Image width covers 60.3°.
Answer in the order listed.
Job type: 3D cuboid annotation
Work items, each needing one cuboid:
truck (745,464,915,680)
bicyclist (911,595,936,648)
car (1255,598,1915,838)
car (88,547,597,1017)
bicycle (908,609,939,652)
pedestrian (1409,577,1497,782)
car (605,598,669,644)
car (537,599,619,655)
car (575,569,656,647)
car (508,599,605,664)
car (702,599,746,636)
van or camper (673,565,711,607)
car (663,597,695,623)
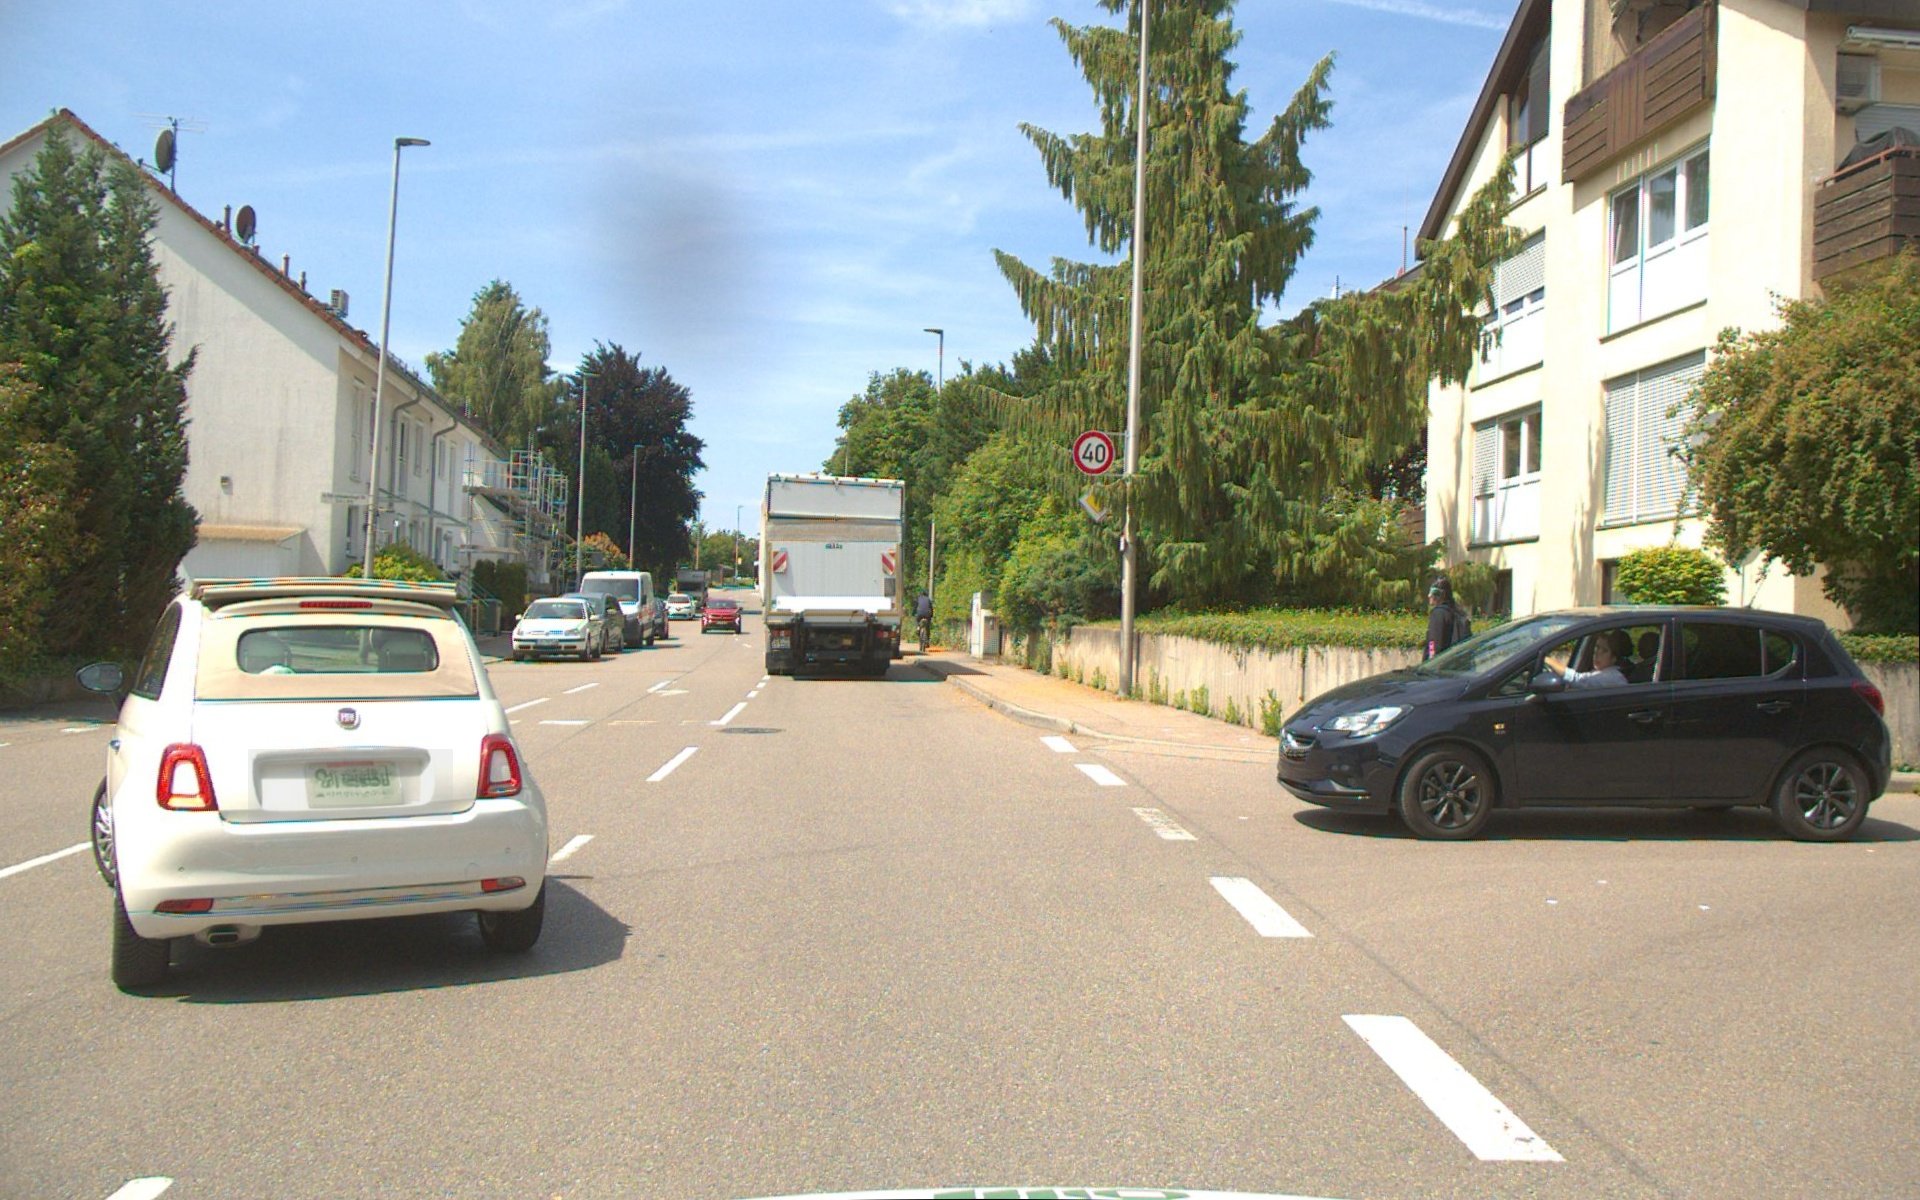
[{"bbox_3d":[-2.783,-0.491,33.562,3.010,3.840,7.856,1,0,-7],"label":"truck"},{"bbox_3d":[-1.025,0.595,46.229,0.576,1.437,0.741,2,0,-6],"label":"bicyclist"},{"bbox_3d":[4.090,0.745,11.217,3.854,1.483,1.658,0,0,-2],"label":"car"},{"bbox_3d":[-3.096,0.637,7.759,1.706,1.587,3.962,0,-1,-29],"label":"car"},{"bbox_3d":[-1.039,0.834,46.258,0.655,1.123,2.422,2,0,-6],"label":"bicycle"},{"bbox_3d":[4.231,0.661,14.183,0.681,1.701,0.570,1,0,18],"label":"pedestrian"},{"bbox_3d":[-11.925,0.747,61.330,1.999,1.622,4.749,1,0,-8],"label":"car"},{"bbox_3d":[-10.257,0.686,44.647,1.770,1.422,3.961,1,0,-8],"label":"car"},{"bbox_3d":[-10.529,0.239,50.902,1.999,2.238,5.573,1,0,-8],"label":"car"},{"bbox_3d":[-9.433,0.703,38.932,1.770,1.422,3.993,1,0,-8],"label":"car"},{"bbox_3d":[-10.730,0.785,75.473,1.798,1.561,3.994,2,0,-6],"label":"car"},{"bbox_3d":[-20.242,-1.069,125.147,2.220,3.014,5.884,2,0,-4],"label":"van or camper"},{"bbox_3d":[-17.316,0.615,101.970,1.447,1.520,3.079,1,0,-1],"label":"car"}]
